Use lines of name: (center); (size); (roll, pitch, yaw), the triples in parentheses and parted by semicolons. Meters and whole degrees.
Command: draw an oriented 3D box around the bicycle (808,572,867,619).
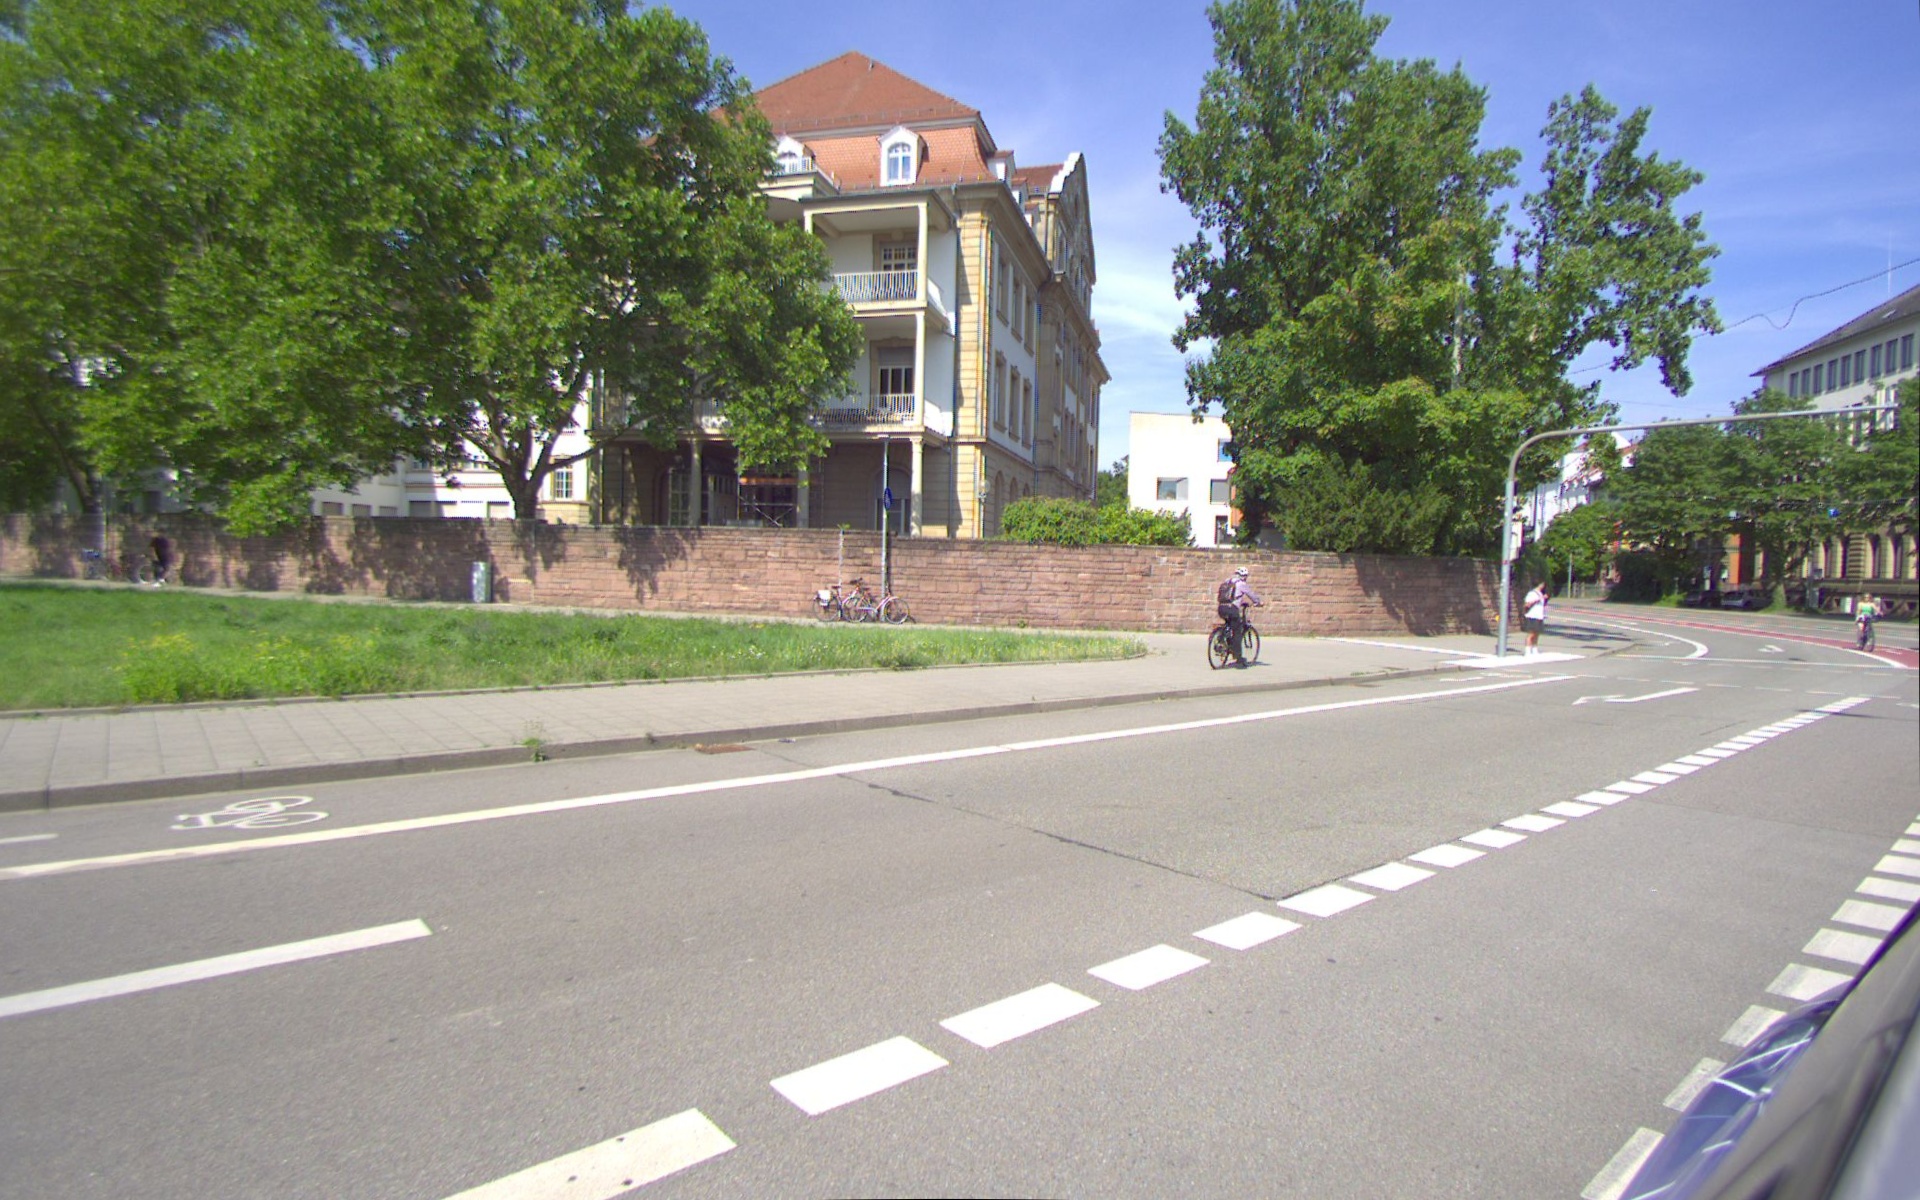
bicycle: (-3.051, -0.117, 25.315); (1.406, 1.136, 0.350); (1, 2, -27)

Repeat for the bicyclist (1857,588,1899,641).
bicyclist: (27.707, 0.415, 30.557); (0.580, 1.567, 0.926); (0, 1, 17)

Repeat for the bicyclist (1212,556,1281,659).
bicyclist: (4.861, 0.107, 17.152); (0.902, 1.675, 0.679); (0, 2, -41)

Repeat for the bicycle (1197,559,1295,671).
bicycle: (4.855, 0.229, 17.139); (1.779, 1.787, 0.679); (0, 2, -41)

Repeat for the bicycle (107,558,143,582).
bicycle: (-27.882, -1.009, 33.799); (1.350, 0.737, 0.338); (3, 2, 23)

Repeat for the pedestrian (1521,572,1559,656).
pedestrian: (13.557, 0.312, 23.660); (0.649, 1.897, 0.788); (4, 3, 31)

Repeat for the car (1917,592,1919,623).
car: (45.650, 0.477, 45.414); (1.769, 1.429, 3.995); (3, 3, 6)

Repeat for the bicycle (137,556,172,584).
bicycle: (-26.396, -0.979, 33.160); (1.294, 0.866, 0.369); (3, 2, 25)

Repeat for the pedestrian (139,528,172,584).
pedestrian: (-25.651, -1.406, 32.279); (0.592, 1.761, 0.616); (2, 2, 20)

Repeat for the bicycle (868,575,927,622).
bicycle: (-1.572, -0.043, 25.401); (1.406, 1.136, 0.350); (2, 2, -6)

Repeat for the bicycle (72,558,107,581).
bicycle: (-29.478, -1.030, 34.266); (1.350, 0.737, 0.338); (3, 2, 23)

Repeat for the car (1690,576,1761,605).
car: (60.820, -0.776, 80.461); (3.941, 2.038, 1.992); (2, 2, 14)

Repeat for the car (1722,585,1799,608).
car: (59.385, -0.293, 75.126); (3.941, 1.482, 1.992); (2, 2, 14)

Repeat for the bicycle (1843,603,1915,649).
bicycle: (27.666, 0.757, 30.512); (0.677, 1.237, 2.175); (2, 2, 16)
